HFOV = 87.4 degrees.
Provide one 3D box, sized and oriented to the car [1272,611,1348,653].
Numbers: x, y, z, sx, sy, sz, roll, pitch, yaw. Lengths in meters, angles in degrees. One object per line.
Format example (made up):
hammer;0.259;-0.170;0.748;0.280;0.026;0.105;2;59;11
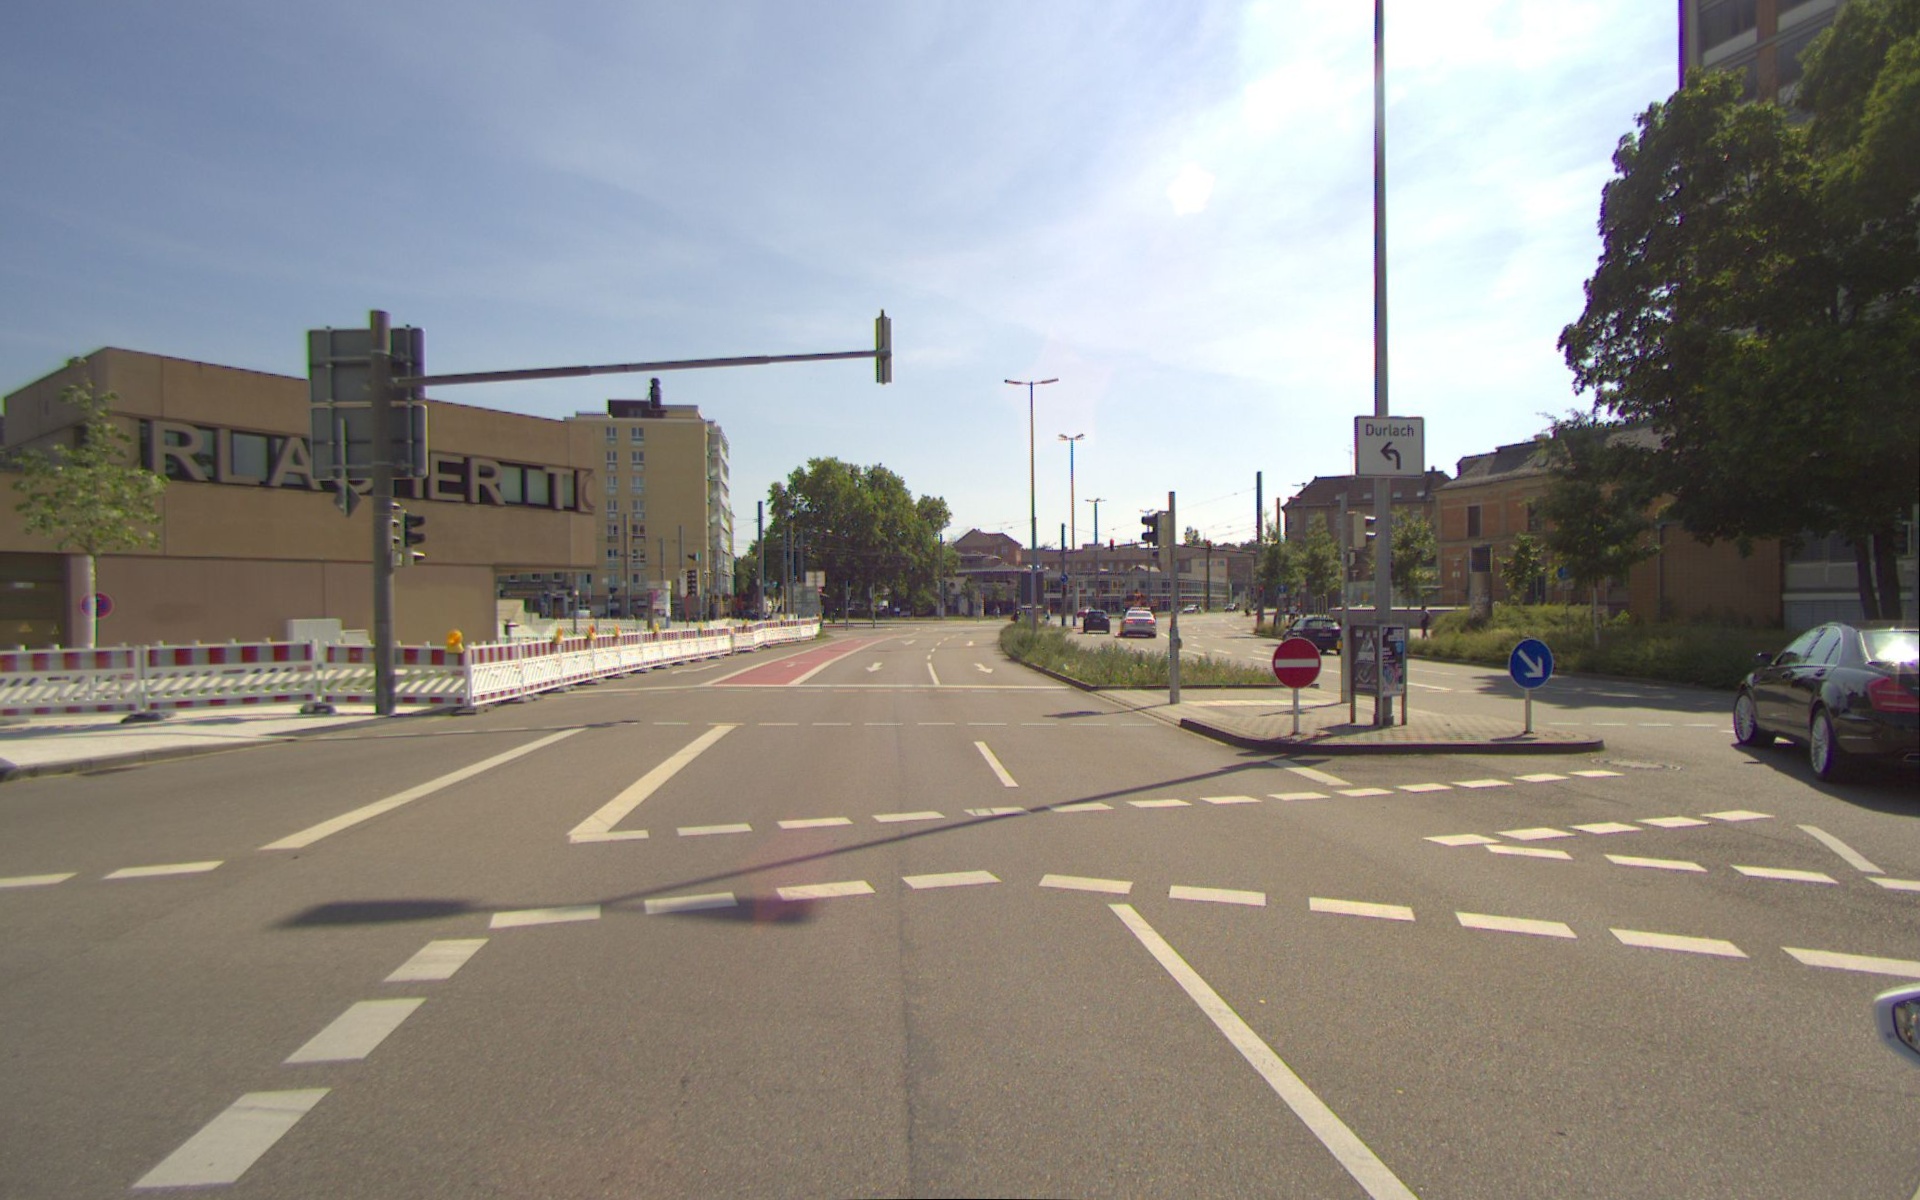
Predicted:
car;13.795;1.235;39.808;1.764;1.530;4.001;1;-1;2

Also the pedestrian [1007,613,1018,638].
pedestrian;3.620;1.764;68.801;0.637;1.683;0.664;0;0;14

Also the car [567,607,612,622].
car;-38.351;1.532;103.961;1.775;1.530;3.976;0;-1;43

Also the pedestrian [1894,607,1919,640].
pedestrian;26.103;0.652;27.636;0.386;0.903;0.428;0;0;-11

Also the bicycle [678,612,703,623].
bicycle;-30.598;2.009;114.142;2.775;1.239;0.990;0;2;-14

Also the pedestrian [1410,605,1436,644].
pedestrian;21.152;1.117;45.928;0.856;1.748;0.800;0;0;3

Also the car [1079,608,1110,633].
car;8.590;1.278;63.888;1.763;1.530;4.002;0;0;10

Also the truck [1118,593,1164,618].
truck;28.066;0.901;155.709;7.874;3.780;3.035;0;0;-43

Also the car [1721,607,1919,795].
car;9.378;0.868;10.165;1.830;1.550;4.708;-1;-2;27

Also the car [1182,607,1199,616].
car;39.083;1.916;169.920;1.768;1.530;3.993;0;0;29

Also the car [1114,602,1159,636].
car;9.781;1.033;55.985;1.960;1.840;4.001;0;0;2
